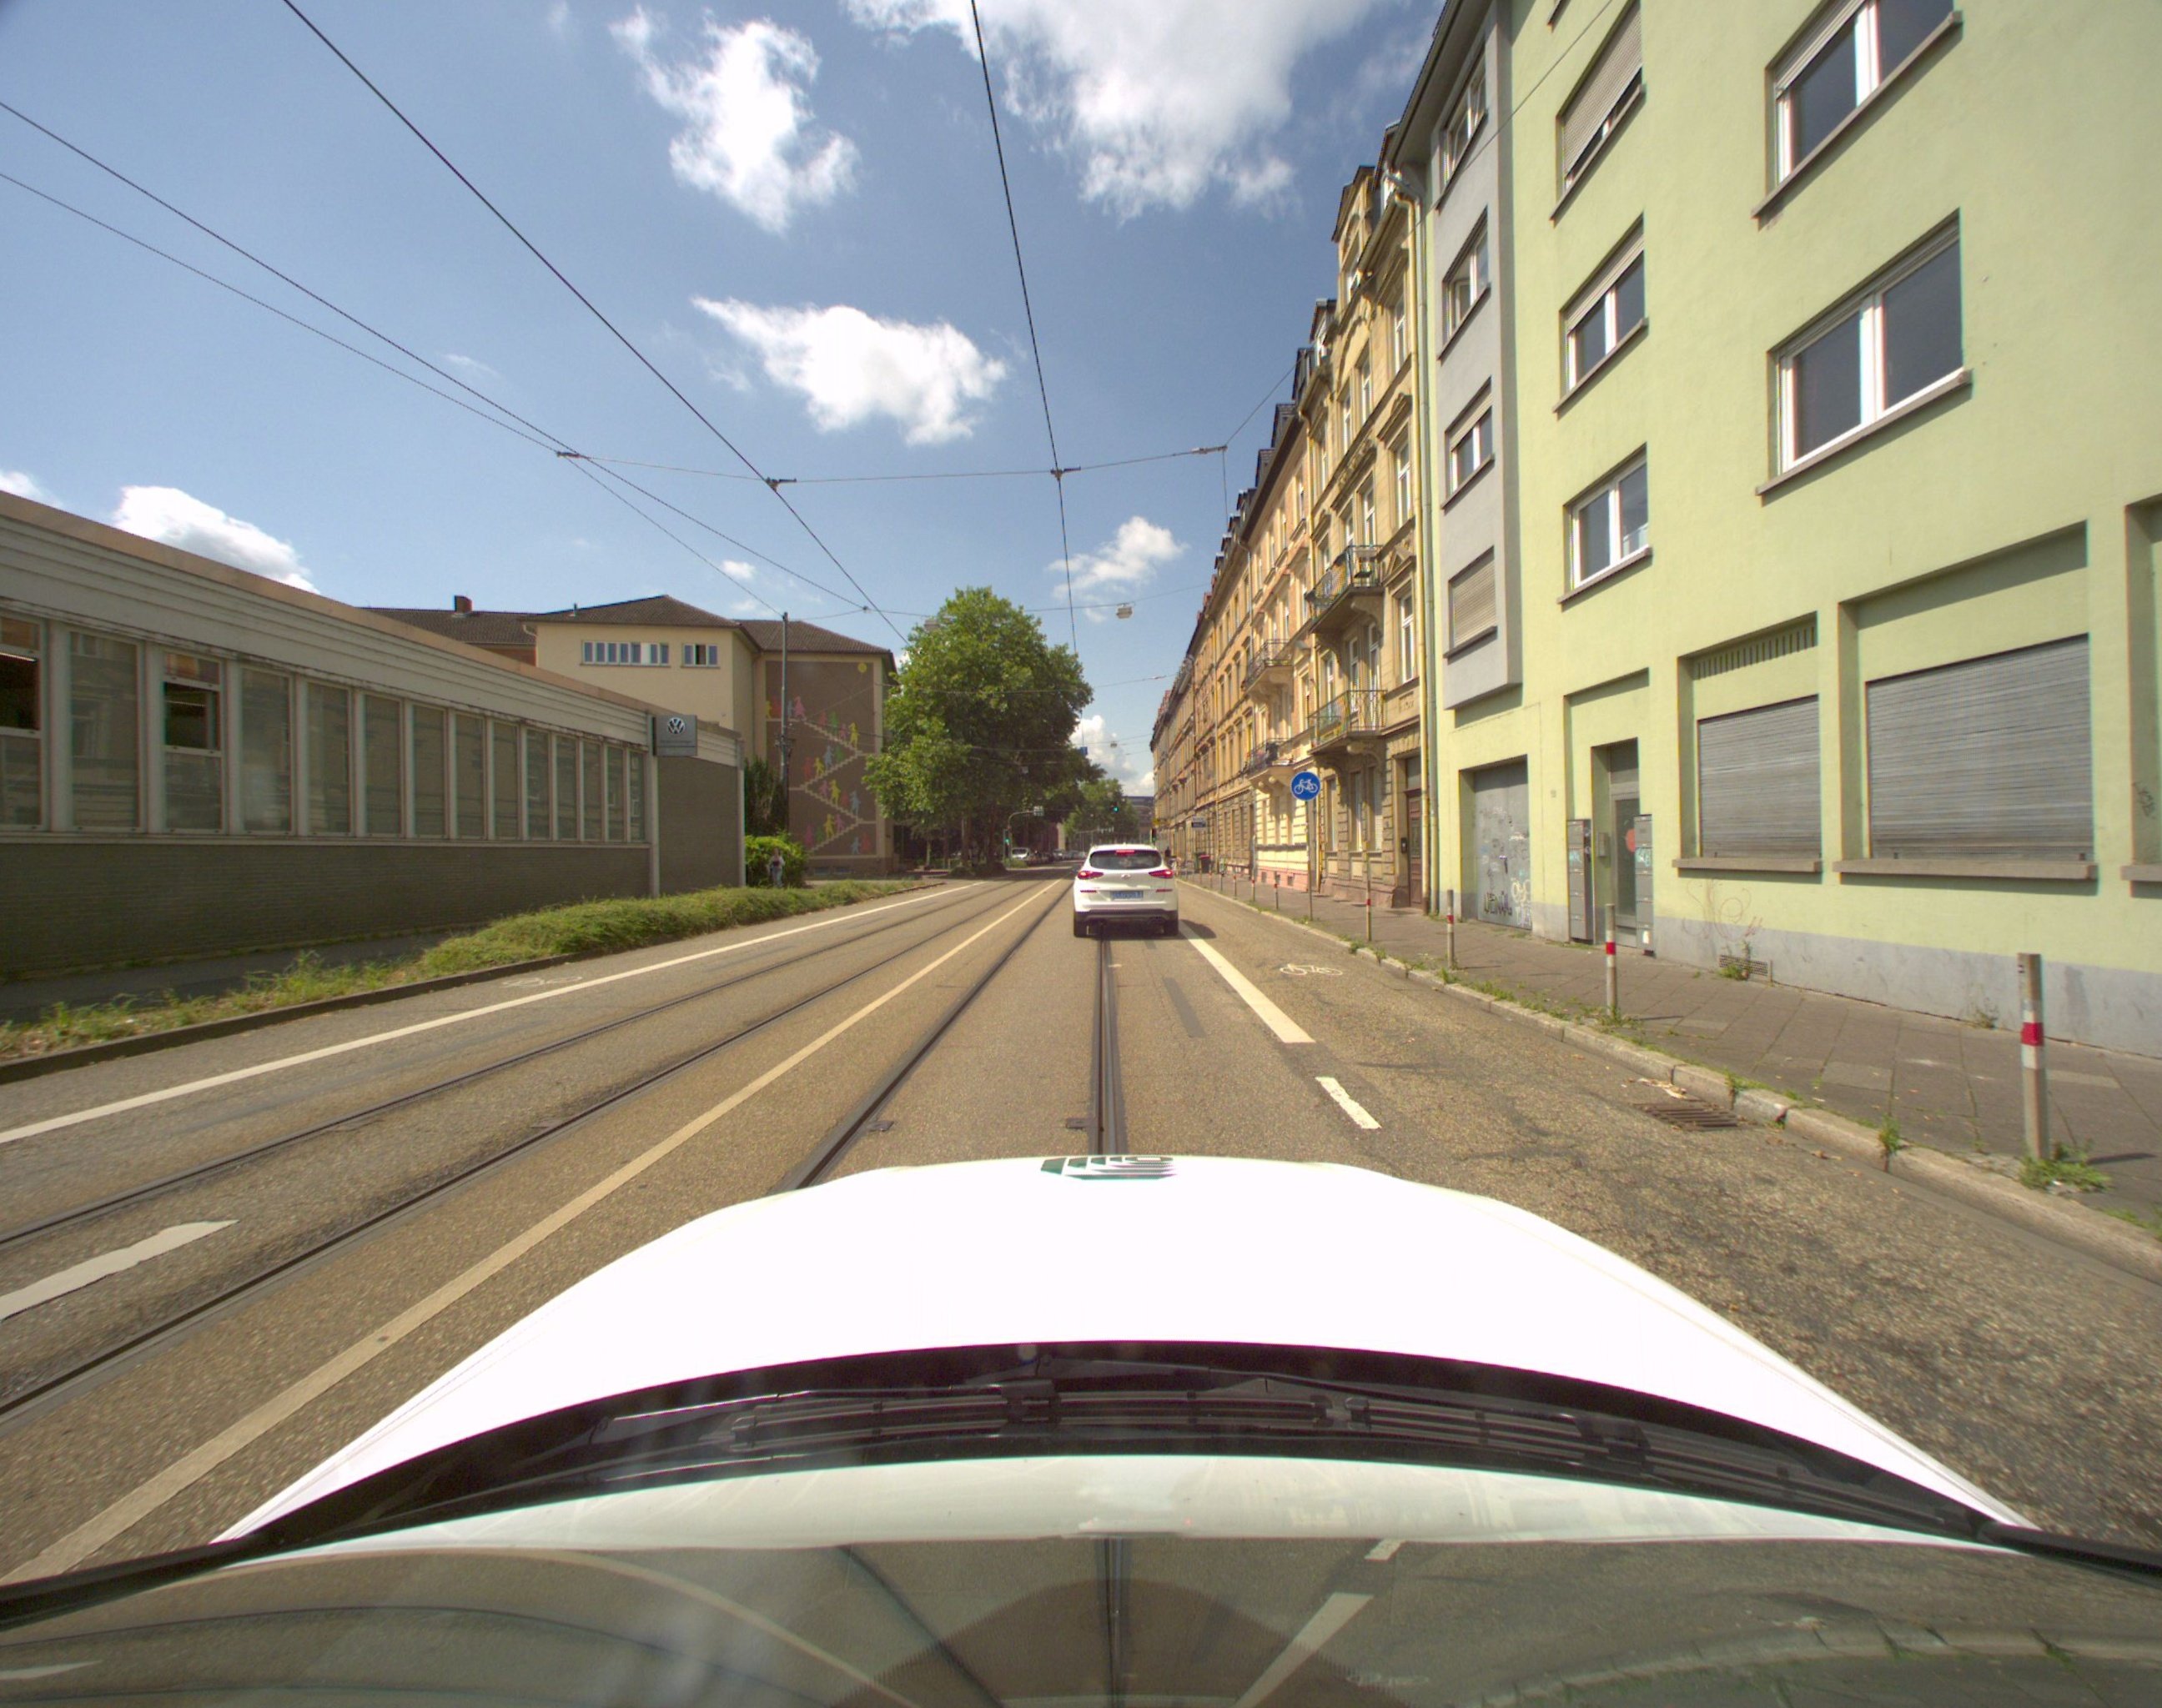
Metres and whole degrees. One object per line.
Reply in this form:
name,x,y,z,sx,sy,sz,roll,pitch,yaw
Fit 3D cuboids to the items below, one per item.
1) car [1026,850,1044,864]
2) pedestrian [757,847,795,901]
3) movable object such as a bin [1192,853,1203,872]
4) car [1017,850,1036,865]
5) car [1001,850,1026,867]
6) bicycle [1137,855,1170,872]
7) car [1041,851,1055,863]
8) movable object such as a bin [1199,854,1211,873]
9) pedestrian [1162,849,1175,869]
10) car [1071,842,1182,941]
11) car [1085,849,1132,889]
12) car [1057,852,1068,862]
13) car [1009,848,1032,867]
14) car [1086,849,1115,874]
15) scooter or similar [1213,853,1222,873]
car,-5.628,0.349,100.325,1.944,1.632,3.998,0,0,-1
pedestrian,-10.828,0.699,28.941,0.877,1.865,1.081,-2,0,2
movable object such as a bin,7.237,0.519,50.466,0.610,1.143,0.639,-1,0,1
car,-6.196,0.389,92.373,1.944,1.632,3.998,0,0,-1
car,-6.553,0.395,79.182,1.943,1.632,4.577,0,0,1
bicycle,5.124,0.660,57.469,2.260,1.144,0.584,0,0,-1
car,-4.770,0.448,118.082,1.944,1.632,3.998,0,0,-1
movable object such as a bin,7.458,0.568,49.031,0.610,1.143,0.639,0,0,1
pedestrian,6.997,0.364,65.362,0.934,1.572,1.050,0,0,1
car,0.747,0.618,15.765,1.847,1.634,4.179,-1,0,-1
car,1.156,0.570,33.899,1.807,1.524,4.088,-1,0,2
car,-3.410,0.531,149.326,1.944,1.632,3.998,0,0,-1
car,-6.261,0.335,85.157,1.943,1.895,4.566,0,0,1
car,1.288,0.464,52.323,1.807,1.524,3.957,0,0,2
scooter or similar,7.704,0.505,45.962,0.393,1.164,0.486,0,0,1
